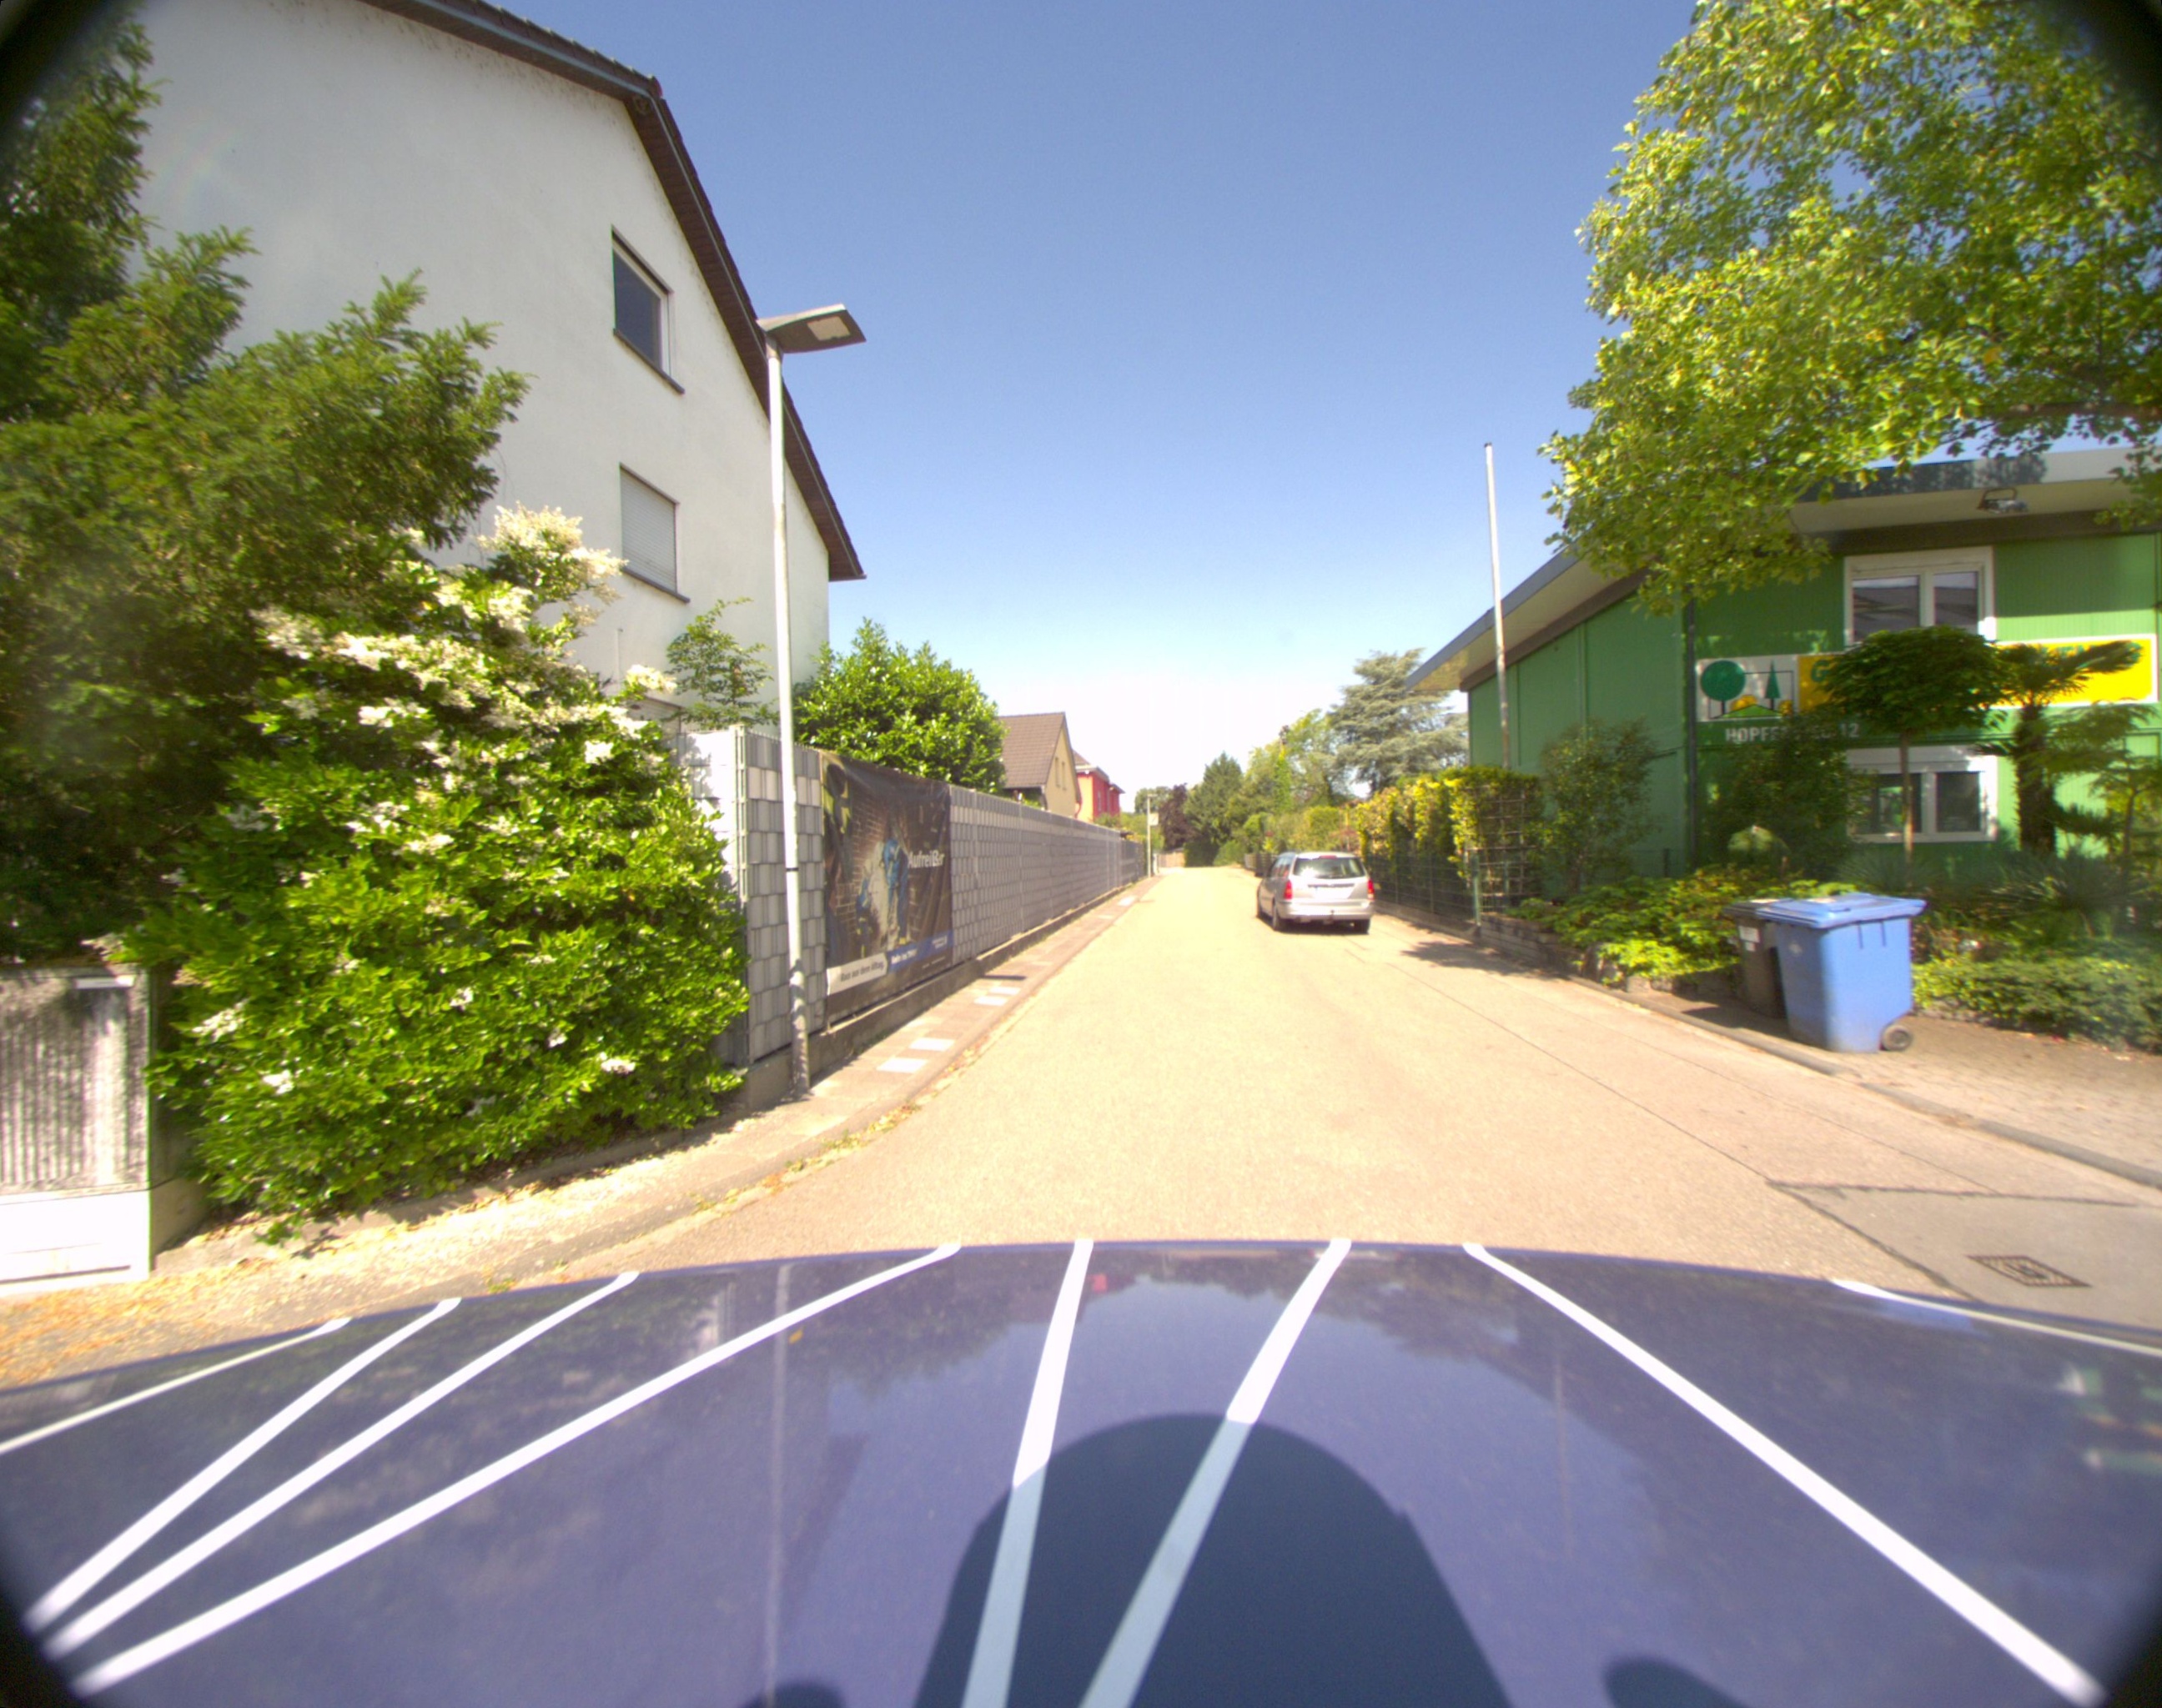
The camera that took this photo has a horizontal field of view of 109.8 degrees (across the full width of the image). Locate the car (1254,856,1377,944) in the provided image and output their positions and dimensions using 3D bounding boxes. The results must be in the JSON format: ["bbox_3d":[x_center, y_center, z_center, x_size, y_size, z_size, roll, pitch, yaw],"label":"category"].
[{"bbox_3d":[4.562,0.799,15.391,1.756,1.478,4.378,0,0,9],"label":"car"}]

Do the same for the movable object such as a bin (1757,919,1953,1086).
[{"bbox_3d":[5.437,1.025,5.382,0.732,1.048,0.612,-2,1,9],"label":"movable object such as a bin"}]

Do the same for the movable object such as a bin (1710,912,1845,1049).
[{"bbox_3d":[5.704,1.022,6.255,0.583,1.018,0.568,-2,1,9],"label":"movable object such as a bin"}]
